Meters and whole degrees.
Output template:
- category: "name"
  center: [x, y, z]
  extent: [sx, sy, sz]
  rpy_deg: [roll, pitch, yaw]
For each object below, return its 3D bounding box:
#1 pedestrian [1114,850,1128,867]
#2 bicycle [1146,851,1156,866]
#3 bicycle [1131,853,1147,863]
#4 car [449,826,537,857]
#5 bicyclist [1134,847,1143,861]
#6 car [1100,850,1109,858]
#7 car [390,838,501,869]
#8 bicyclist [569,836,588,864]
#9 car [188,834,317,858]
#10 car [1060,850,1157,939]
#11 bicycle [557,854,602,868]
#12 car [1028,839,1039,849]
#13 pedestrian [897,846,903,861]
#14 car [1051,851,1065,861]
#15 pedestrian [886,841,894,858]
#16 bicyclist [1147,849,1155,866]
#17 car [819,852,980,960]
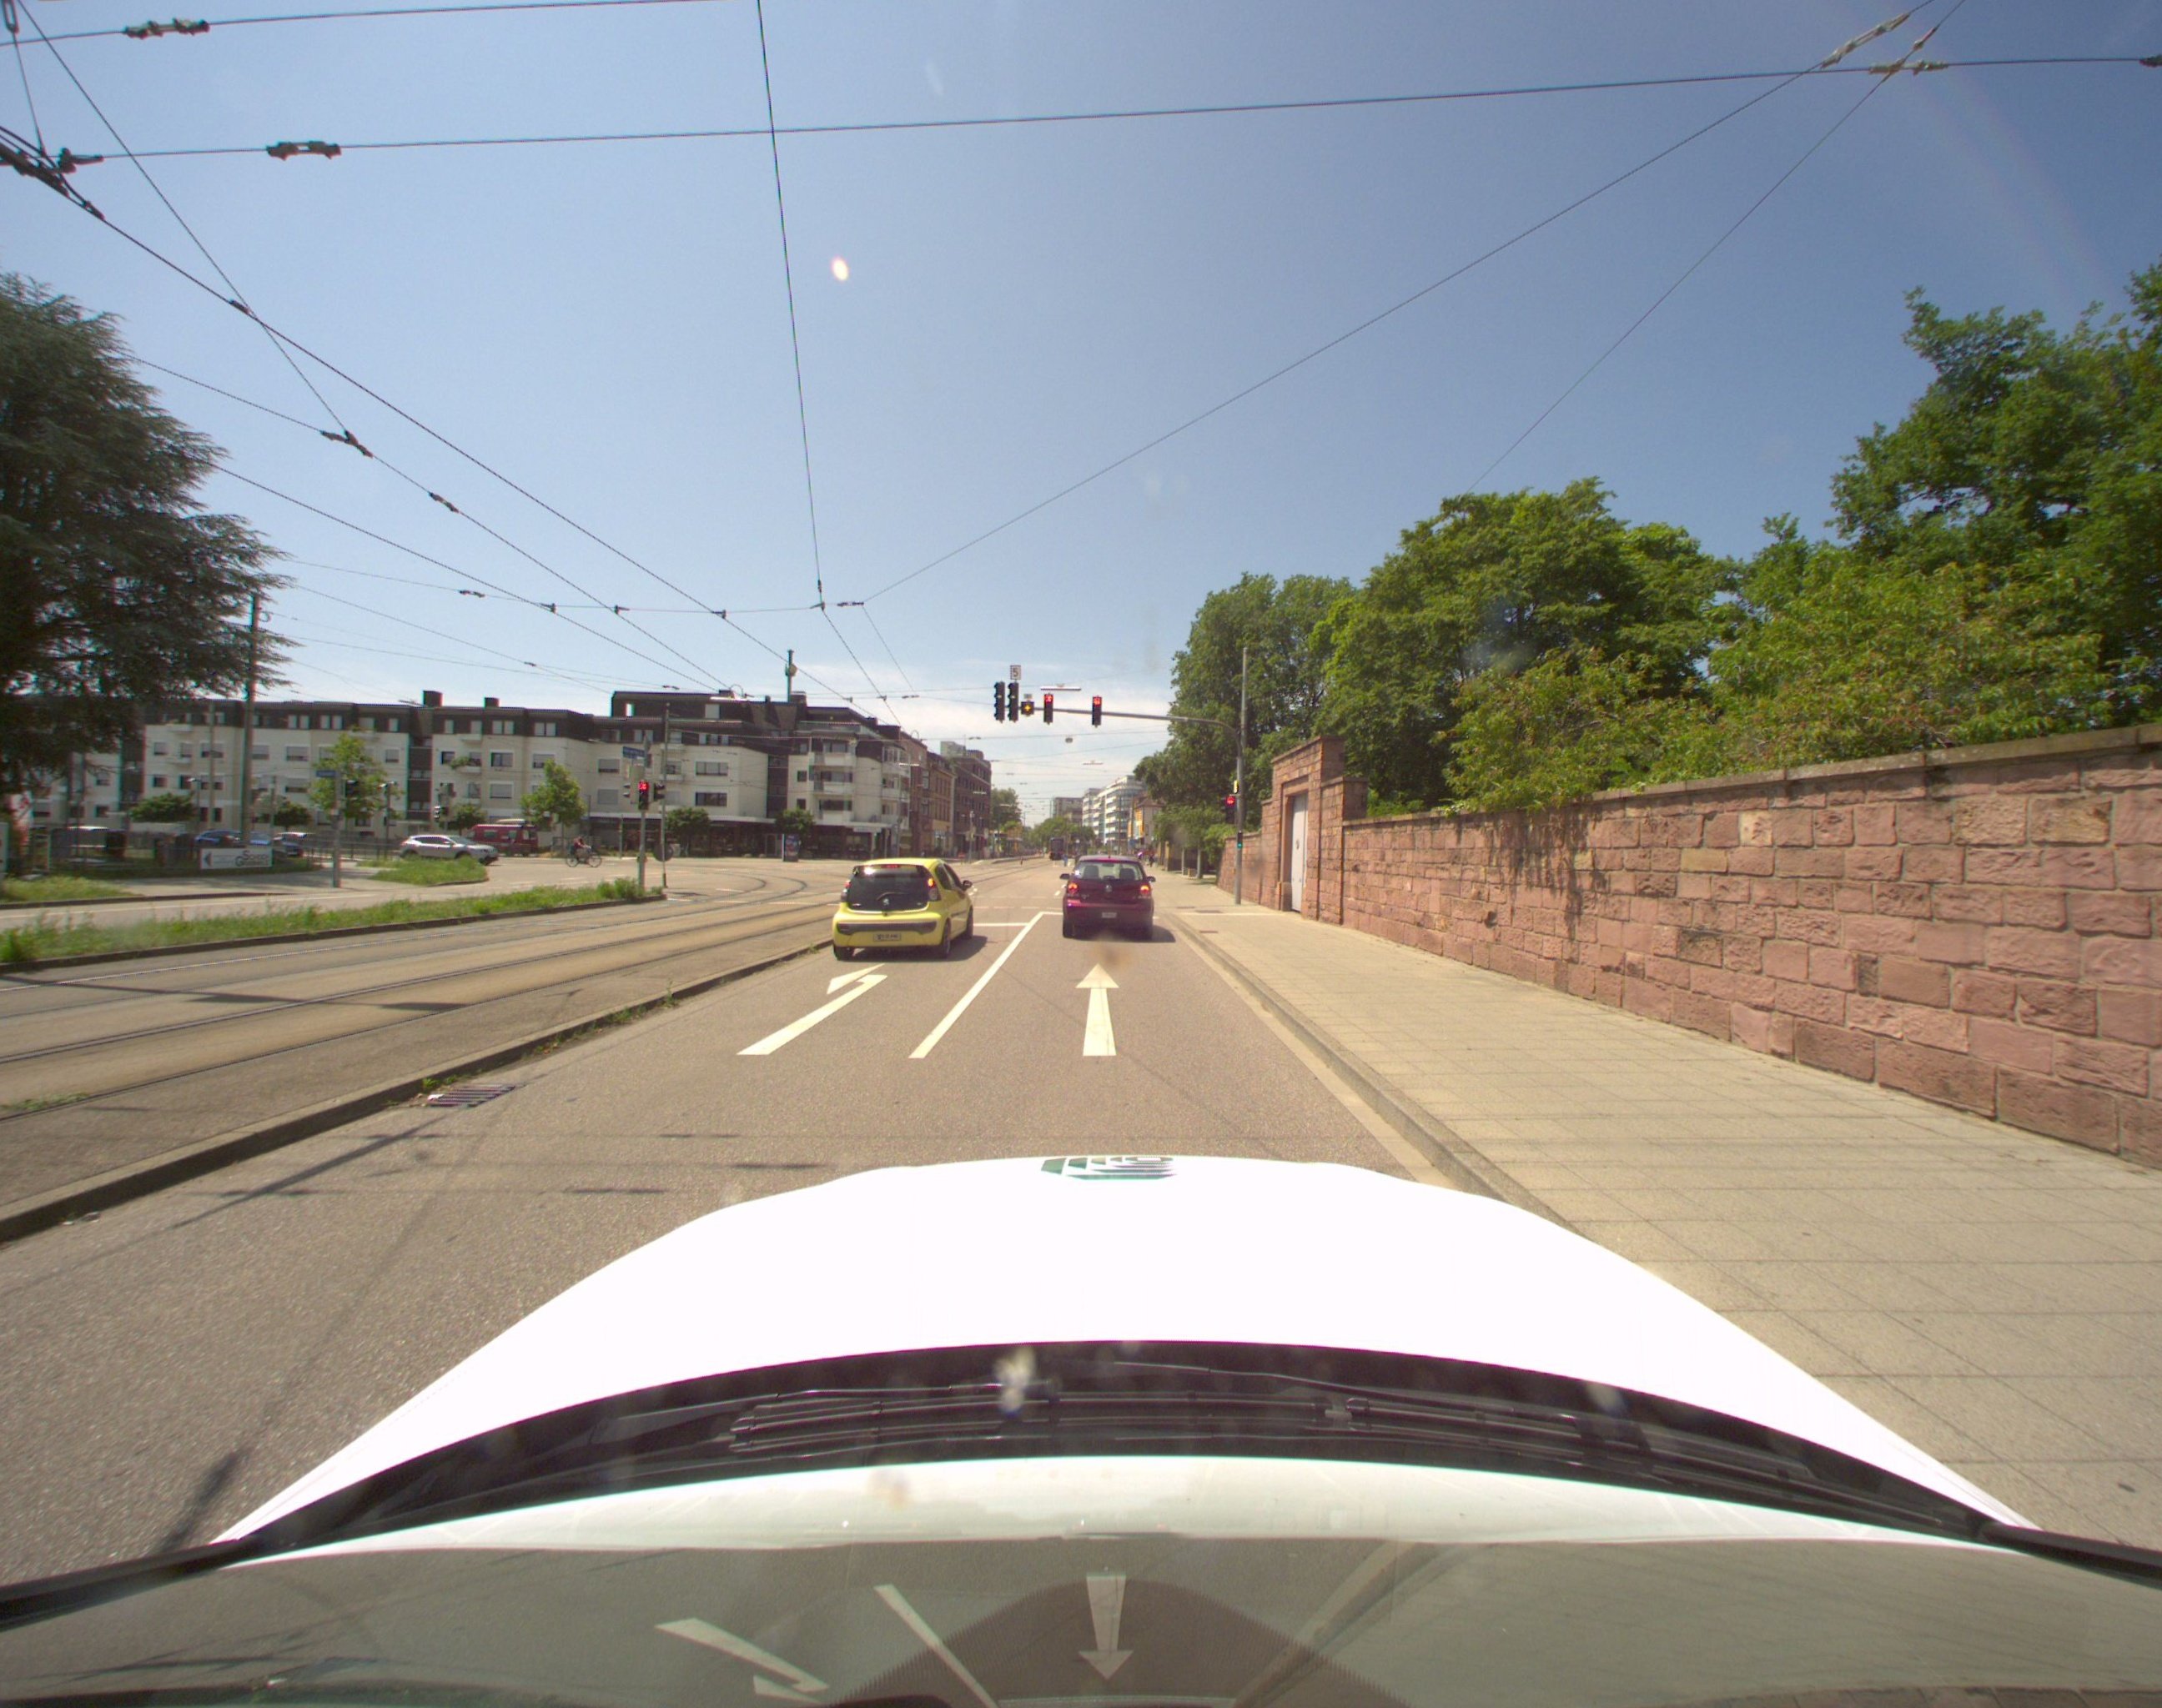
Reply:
- category: "pedestrian"
  center: [4.041, 0.437, 82.283]
  extent: [0.990, 1.661, 0.908]
  rpy_deg: [1, 0, -42]
- category: "bicycle"
  center: [7.265, 0.495, 84.676]
  extent: [0.831, 1.525, 4.001]
  rpy_deg: [0, -1, 2]
- category: "bicycle"
  center: [5.932, 0.414, 83.003]
  extent: [1.882, 1.008, 0.572]
  rpy_deg: [1, -1, -44]
- category: "car"
  center: [-45.246, -0.917, 62.771]
  extent: [5.048, 2.341, 2.244]
  rpy_deg: [0, -1, 0]
- category: "bicyclist"
  center: [5.847, 0.021, 82.924]
  extent: [0.772, 1.406, 0.500]
  rpy_deg: [1, -1, -44]
- category: "car"
  center: [3.976, -0.037, 139.072]
  extent: [1.567, 1.415, 3.721]
  rpy_deg: [-1, 0, 1]
- category: "car"
  center: [-33.412, 0.001, 42.935]
  extent: [4.140, 1.584, 1.932]
  rpy_deg: [0, -1, -11]
- category: "bicyclist"
  center: [-27.357, -0.214, 44.325]
  extent: [0.752, 1.501, 0.479]
  rpy_deg: [0, -1, -20]
- category: "car"
  center: [-44.325, -0.429, 43.671]
  extent: [4.757, 1.237, 1.938]
  rpy_deg: [0, -1, -2]
- category: "car"
  center: [0.508, 0.674, 15.823]
  extent: [1.604, 1.463, 4.086]
  rpy_deg: [1, 0, 1]
- category: "bicycle"
  center: [-27.295, 0.390, 44.351]
  extent: [1.987, 0.783, 0.463]
  rpy_deg: [0, -1, -20]
- category: "car"
  center: [-9.408, -1.933, 162.334]
  extent: [1.728, 2.013, 4.002]
  rpy_deg: [1, 0, 2]
- category: "pedestrian"
  center: [-18.547, -0.024, 83.510]
  extent: [0.480, 1.541, 0.540]
  rpy_deg: [0, -1, 11]
- category: "car"
  center: [-3.476, 0.318, 124.851]
  extent: [1.931, 1.641, 4.001]
  rpy_deg: [0, -1, 1]
- category: "pedestrian"
  center: [-19.700, -0.438, 84.024]
  extent: [0.614, 1.754, 0.499]
  rpy_deg: [1, -1, -43]
- category: "bicyclist"
  center: [7.310, 0.356, 85.164]
  extent: [0.719, 1.818, 0.889]
  rpy_deg: [0, -1, 1]
- category: "car"
  center: [-2.706, 0.718, 12.867]
  extent: [1.717, 1.445, 3.293]
  rpy_deg: [-1, 1, 1]
